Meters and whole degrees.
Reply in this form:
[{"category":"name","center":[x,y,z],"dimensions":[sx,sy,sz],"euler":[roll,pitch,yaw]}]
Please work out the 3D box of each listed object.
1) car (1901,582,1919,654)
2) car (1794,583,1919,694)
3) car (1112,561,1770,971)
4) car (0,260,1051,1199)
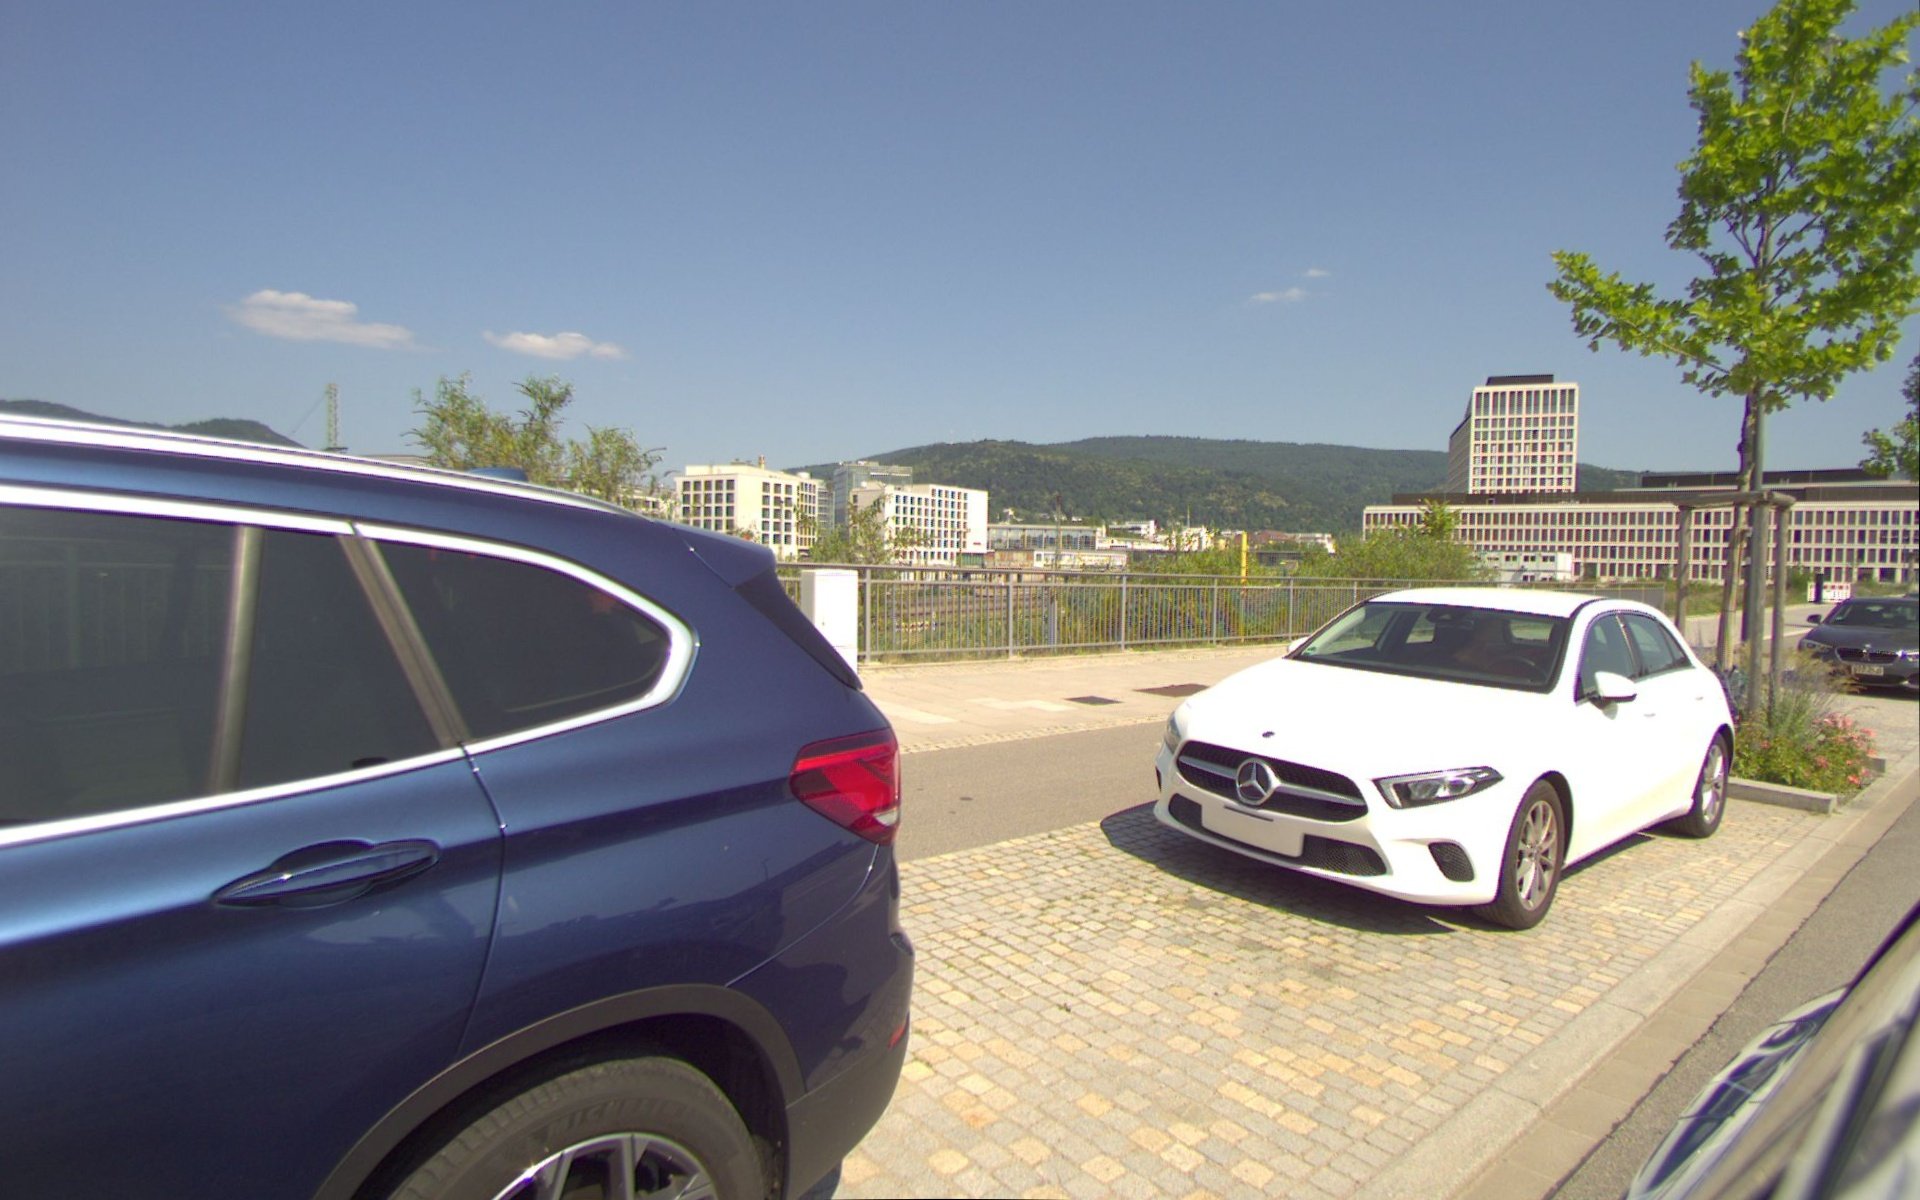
[{"category":"car","center":[21.652,0.415,21.839],"dimensions":[2.954,1.491,1.569],"euler":[-1,5,-41]},{"category":"car","center":[14.515,0.530,15.635],"dimensions":[3.848,1.449,1.808],"euler":[-1,5,-41]},{"category":"car","center":[2.915,0.559,5.672],"dimensions":[4.196,1.390,1.711],"euler":[-1,5,-41]},{"category":"car","center":[-2.016,0.462,1.326],"dimensions":[4.196,1.703,1.808],"euler":[-1,4,-41]}]
